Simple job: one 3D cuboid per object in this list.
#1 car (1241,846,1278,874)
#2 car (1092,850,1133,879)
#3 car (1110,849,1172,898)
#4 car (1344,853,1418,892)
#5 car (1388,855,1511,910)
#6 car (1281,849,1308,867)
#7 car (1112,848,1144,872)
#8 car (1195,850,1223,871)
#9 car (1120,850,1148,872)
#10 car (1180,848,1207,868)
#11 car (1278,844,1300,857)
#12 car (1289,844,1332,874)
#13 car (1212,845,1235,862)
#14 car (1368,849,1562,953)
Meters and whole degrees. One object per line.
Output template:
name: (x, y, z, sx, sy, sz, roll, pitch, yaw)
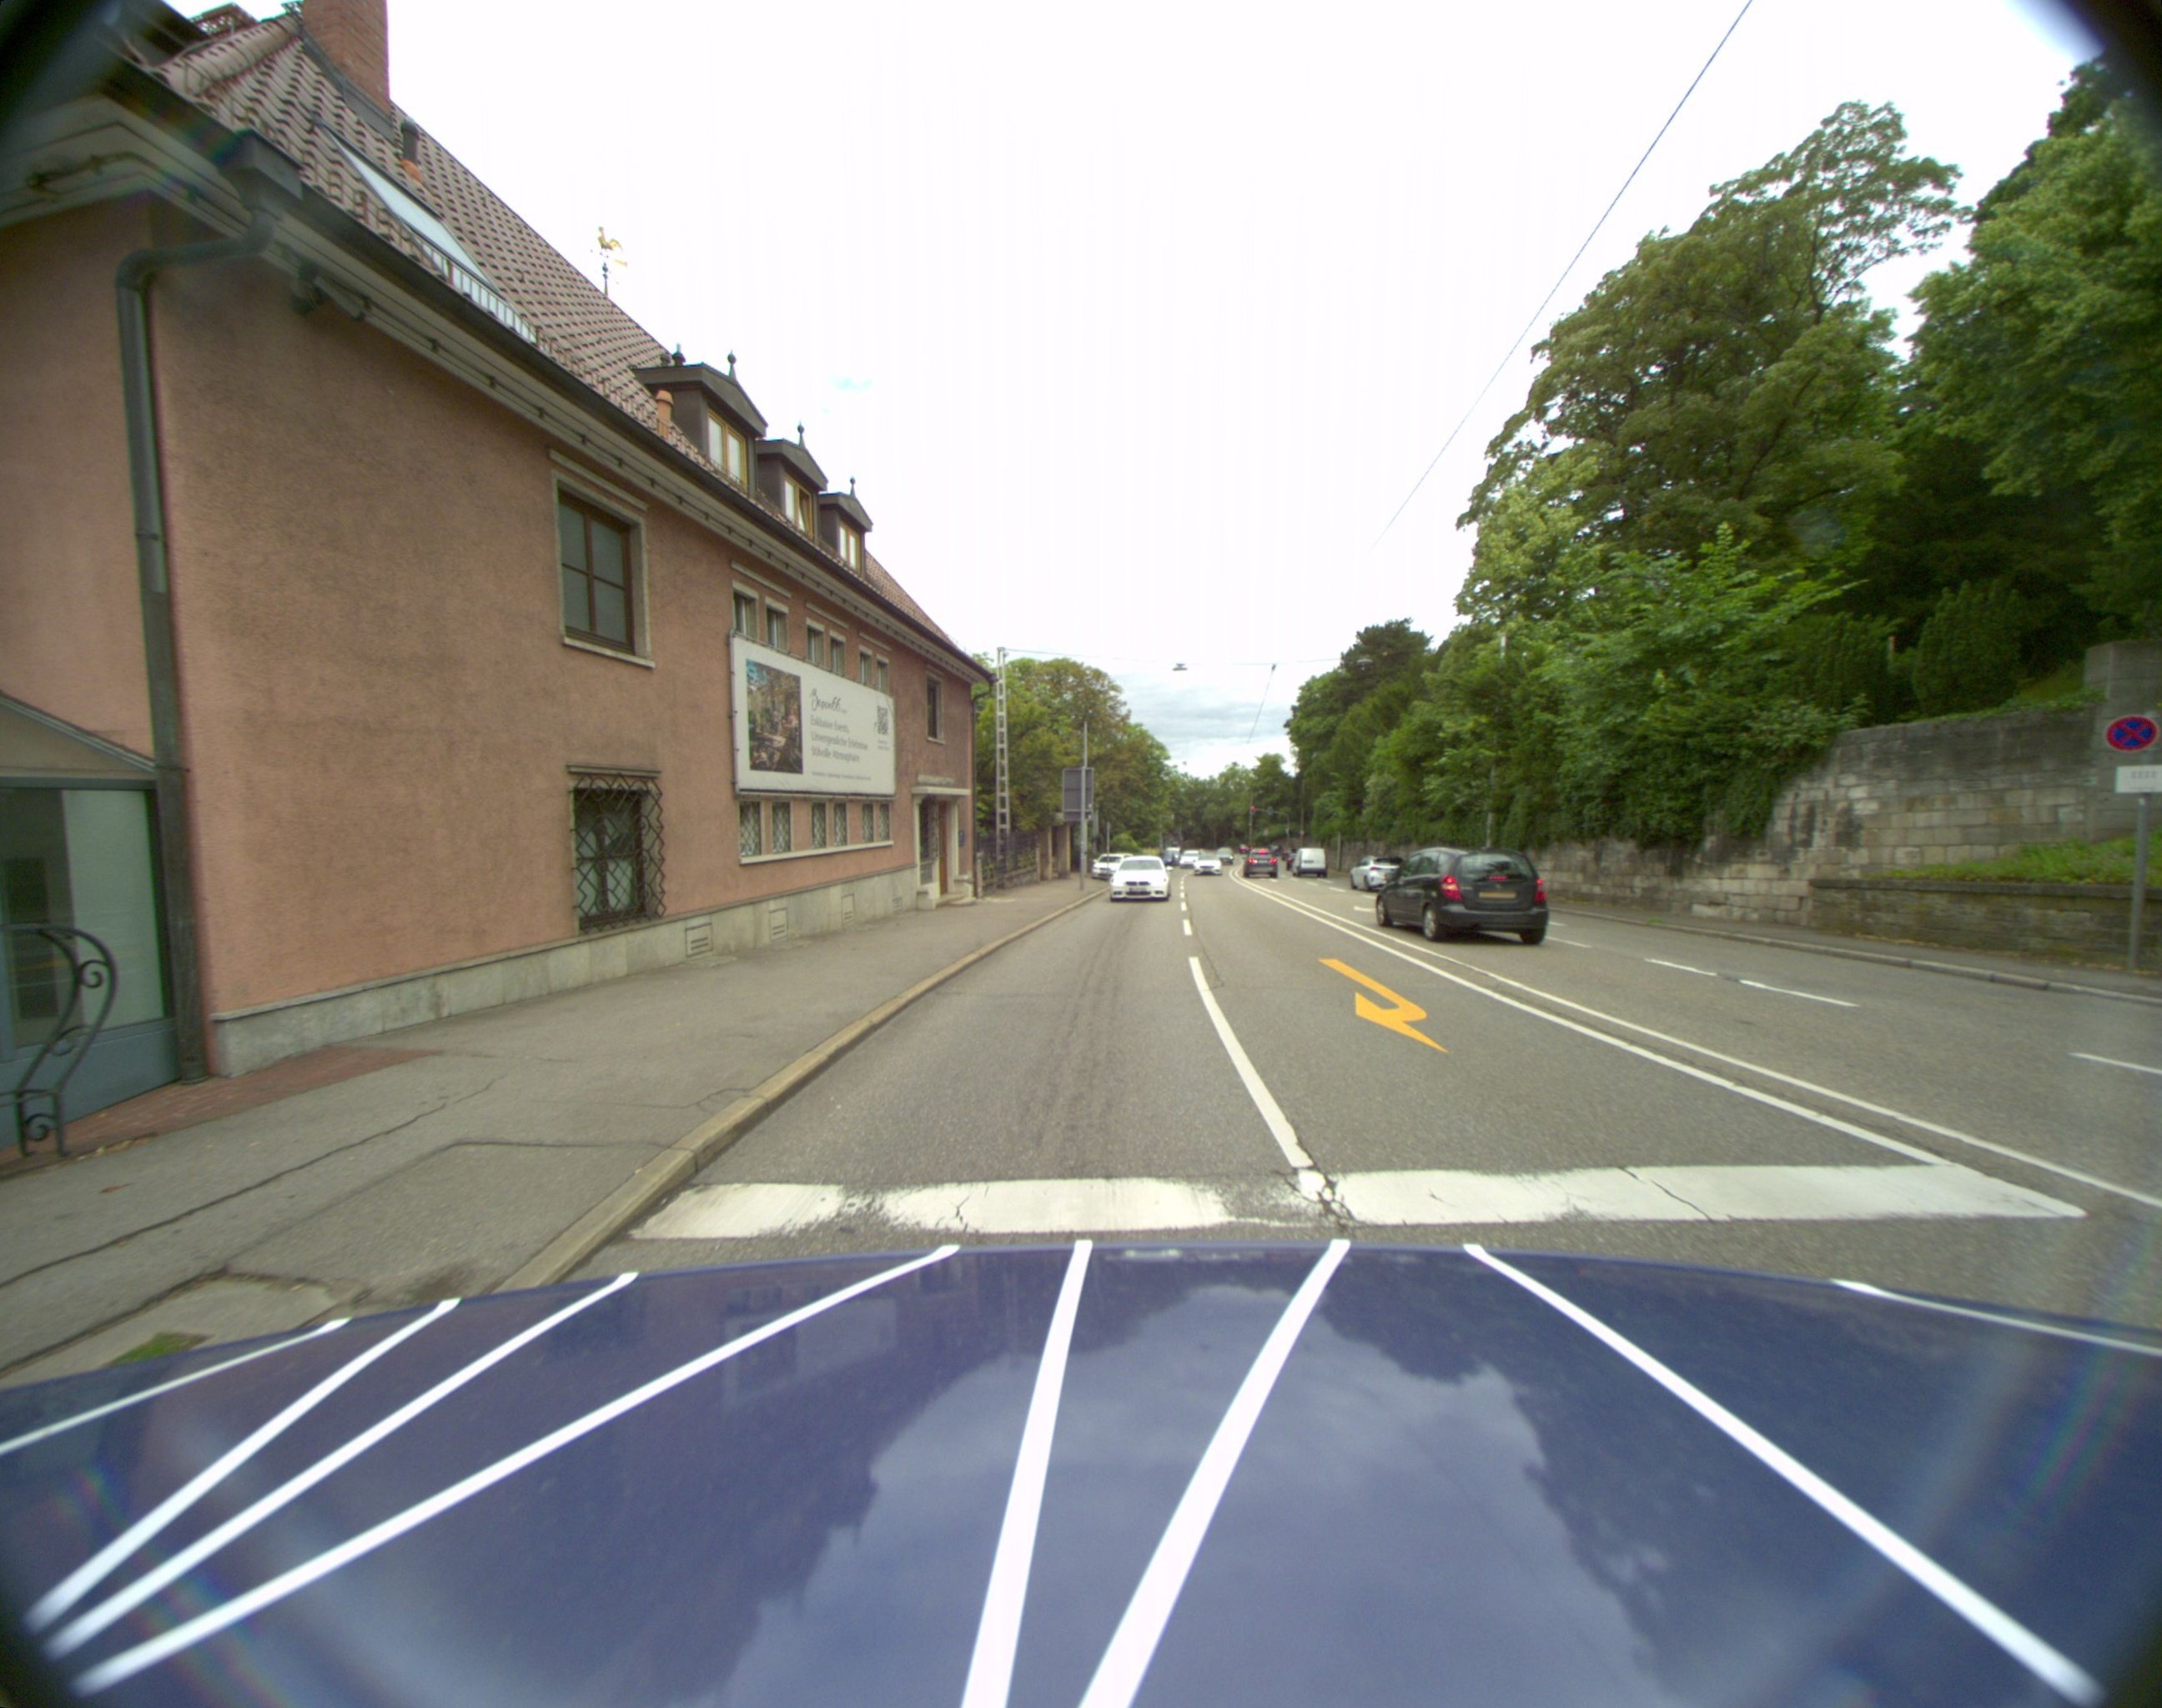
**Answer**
car: (10.876, 0.352, 46.497, 1.852, 1.623, 4.364, 0, 0, 8)
car: (1.794, 0.566, 42.352, 1.678, 1.453, 4.368, 2, 1, 10)
car: (2.130, 0.575, 25.703, 1.821, 1.463, 4.786, -1, 1, 8)
car: (11.918, 0.687, 30.475, 1.719, 1.395, 4.025, 1, 0, 6)
car: (10.663, 0.748, 22.376, 1.686, 1.410, 4.429, 1, 0, 4)
car: (17.798, 0.322, 63.565, 1.565, 1.394, 4.255, 1, 1, 8)
car: (3.077, 0.377, 49.152, 1.718, 1.463, 4.041, 1, 0, 9)
car: (8.626, 0.450, 51.339, 1.801, 1.382, 3.530, 1, 0, 8)
car: (3.945, 0.487, 55.946, 1.564, 1.414, 3.426, 3, 2, 11)
car: (10.323, 0.320, 70.008, 1.958, 1.761, 4.000, 0, 0, 1)
car: (24.140, -0.454, 88.347, 1.846, 1.401, 4.458, 1, 1, 7)
car: (14.602, 0.275, 48.571, 1.896, 1.837, 4.399, 1, 1, 7)
car: (14.893, -0.028, 79.486, 1.957, 1.730, 4.001, 0, 0, 4)
car: (6.600, 0.708, 13.540, 1.758, 1.557, 3.680, 1, 1, 4)
